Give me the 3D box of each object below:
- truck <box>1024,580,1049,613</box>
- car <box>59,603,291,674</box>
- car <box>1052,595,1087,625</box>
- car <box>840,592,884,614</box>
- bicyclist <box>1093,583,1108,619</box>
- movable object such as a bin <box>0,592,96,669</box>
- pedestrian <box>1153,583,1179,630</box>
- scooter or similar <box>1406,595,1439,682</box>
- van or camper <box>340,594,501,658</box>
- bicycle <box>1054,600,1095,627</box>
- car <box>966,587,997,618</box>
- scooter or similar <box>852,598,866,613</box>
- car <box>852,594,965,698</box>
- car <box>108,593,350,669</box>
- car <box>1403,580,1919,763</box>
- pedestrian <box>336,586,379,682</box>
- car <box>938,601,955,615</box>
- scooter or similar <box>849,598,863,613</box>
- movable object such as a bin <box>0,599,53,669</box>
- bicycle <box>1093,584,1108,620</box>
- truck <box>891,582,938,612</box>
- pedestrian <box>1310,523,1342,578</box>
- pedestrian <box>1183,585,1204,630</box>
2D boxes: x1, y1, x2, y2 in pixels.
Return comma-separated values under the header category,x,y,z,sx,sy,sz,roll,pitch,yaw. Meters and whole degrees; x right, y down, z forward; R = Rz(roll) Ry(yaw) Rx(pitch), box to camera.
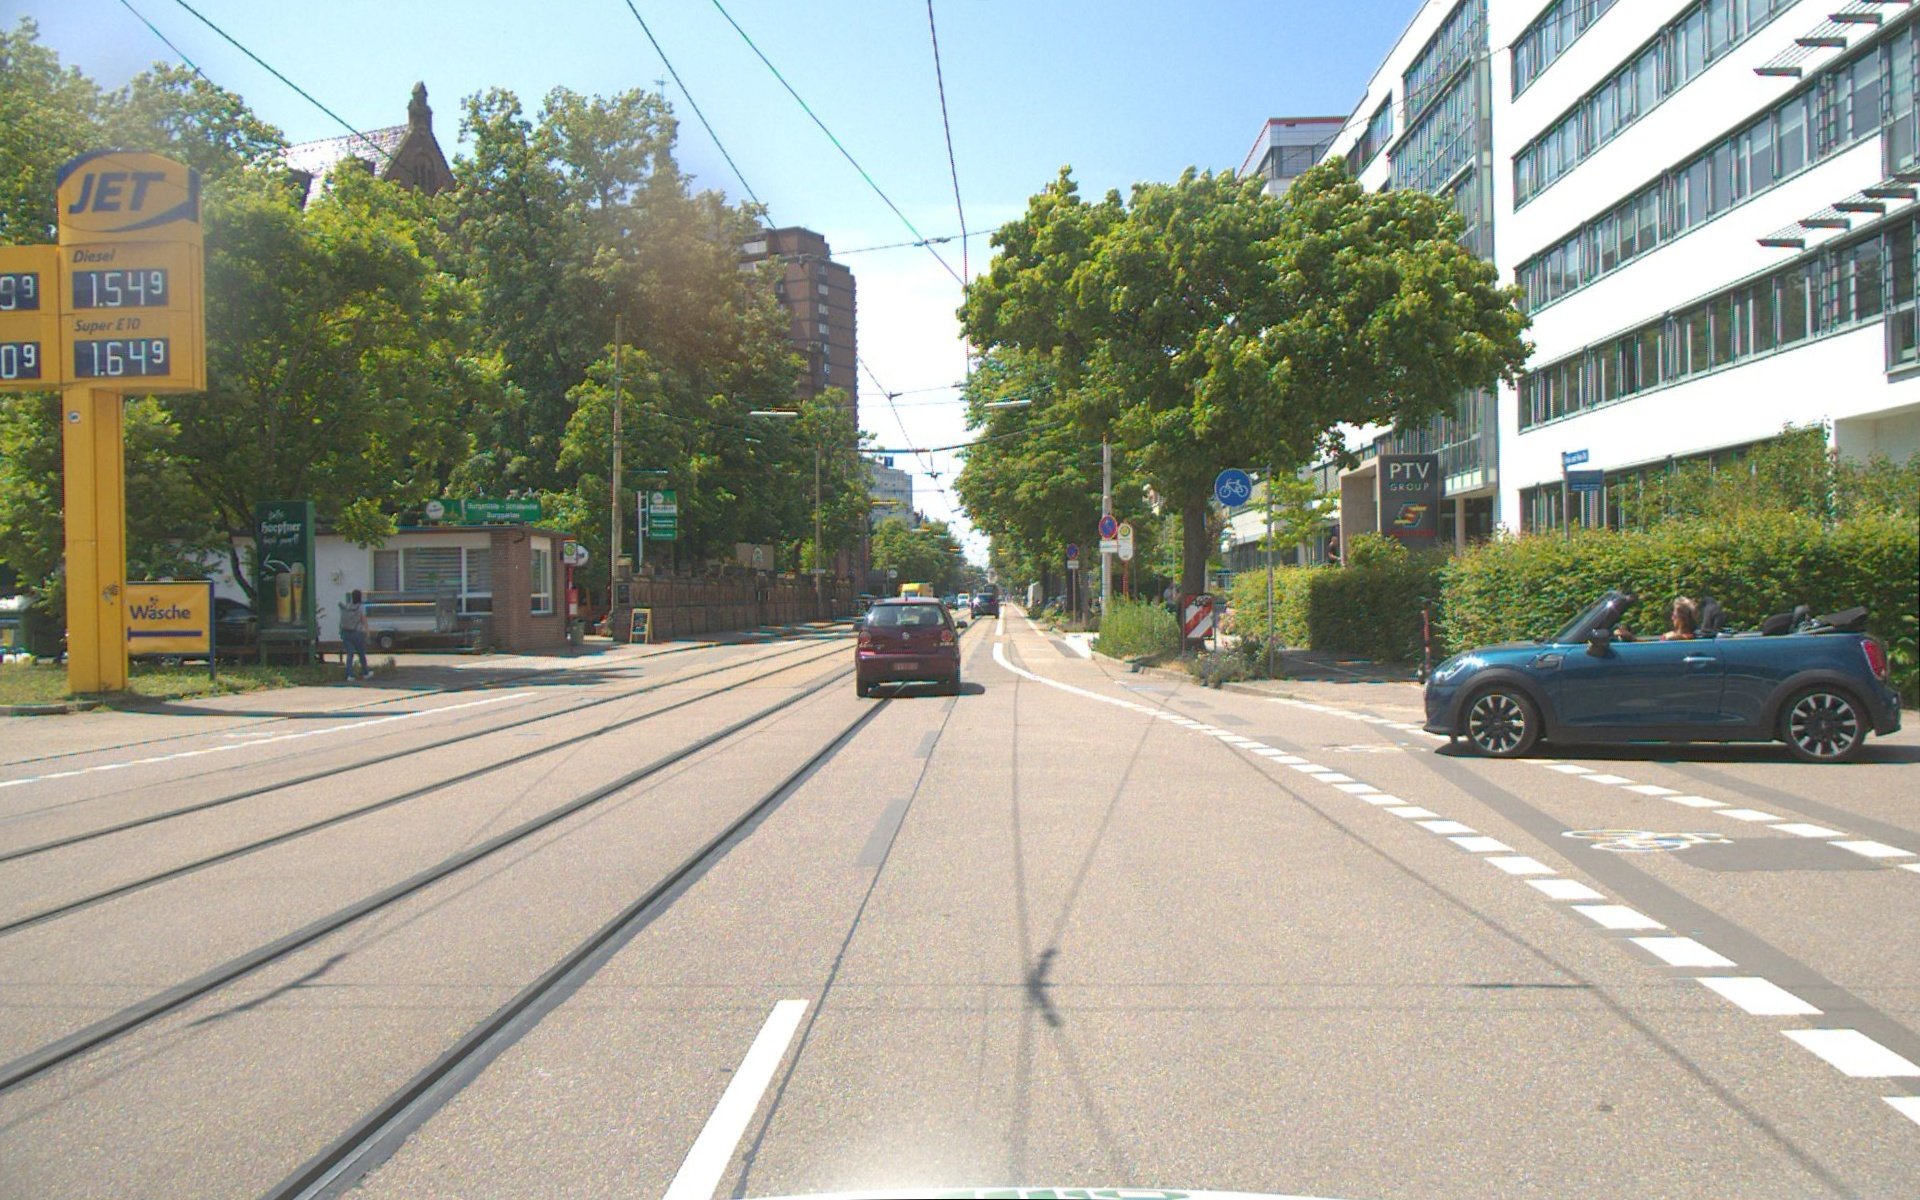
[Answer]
category,x,y,z,sx,sy,sz,roll,pitch,yaw
truck,6.326,-0.285,137.308,1.952,2.708,4.876,0,0,1
car,-17.844,0.830,37.740,1.900,1.514,4.426,0,0,41
car,5.829,0.524,88.101,1.654,1.529,3.628,-3,0,1
car,-9.542,0.329,161.374,3.902,2.049,2.001,-1,0,5
bicyclist,7.413,0.050,87.270,0.682,1.831,0.888,-3,-1,4
movable object such as a bin,-19.539,0.607,34.638,1.491,1.536,2.098,0,0,26
pedestrian,8.146,0.273,65.460,0.670,1.828,0.668,-2,0,-30
scooter or similar,6.770,0.547,24.191,0.319,1.244,1.151,0,0,22
van or camper,-14.528,0.689,44.696,3.706,1.657,1.872,0,1,1
bicycle,5.230,0.610,75.621,1.844,1.203,0.694,-2,-1,1
car,1.394,0.146,109.768,1.953,2.049,4.000,0,0,-1
scooter or similar,-8.190,0.445,134.376,1.072,1.175,0.524,0,0,-20
car,-0.760,0.676,26.516,1.585,1.512,4.000,-1,0,1
car,-15.725,0.625,35.728,1.900,1.514,4.426,0,0,41
car,5.932,0.591,14.199,3.837,1.396,1.702,-2,-1,26
pedestrian,-11.536,0.639,31.667,0.568,1.806,0.699,0,0,-2
car,-1.497,0.876,185.832,1.734,1.542,4.001,-1,0,2
scooter or similar,-8.285,0.440,131.822,1.072,1.175,0.524,0,0,-20
movable object such as a bin,-20.863,0.723,35.376,1.491,1.457,2.098,0,0,26
bicycle,7.409,0.106,87.261,0.675,1.816,1.811,-3,-1,4
truck,-4.309,-0.280,159.364,2.319,2.836,7.324,-1,0,17
pedestrian,11.973,-1.608,54.143,0.855,1.745,1.090,-3,-1,8
pedestrian,9.246,0.288,65.435,0.531,1.745,0.560,-2,-1,-28
